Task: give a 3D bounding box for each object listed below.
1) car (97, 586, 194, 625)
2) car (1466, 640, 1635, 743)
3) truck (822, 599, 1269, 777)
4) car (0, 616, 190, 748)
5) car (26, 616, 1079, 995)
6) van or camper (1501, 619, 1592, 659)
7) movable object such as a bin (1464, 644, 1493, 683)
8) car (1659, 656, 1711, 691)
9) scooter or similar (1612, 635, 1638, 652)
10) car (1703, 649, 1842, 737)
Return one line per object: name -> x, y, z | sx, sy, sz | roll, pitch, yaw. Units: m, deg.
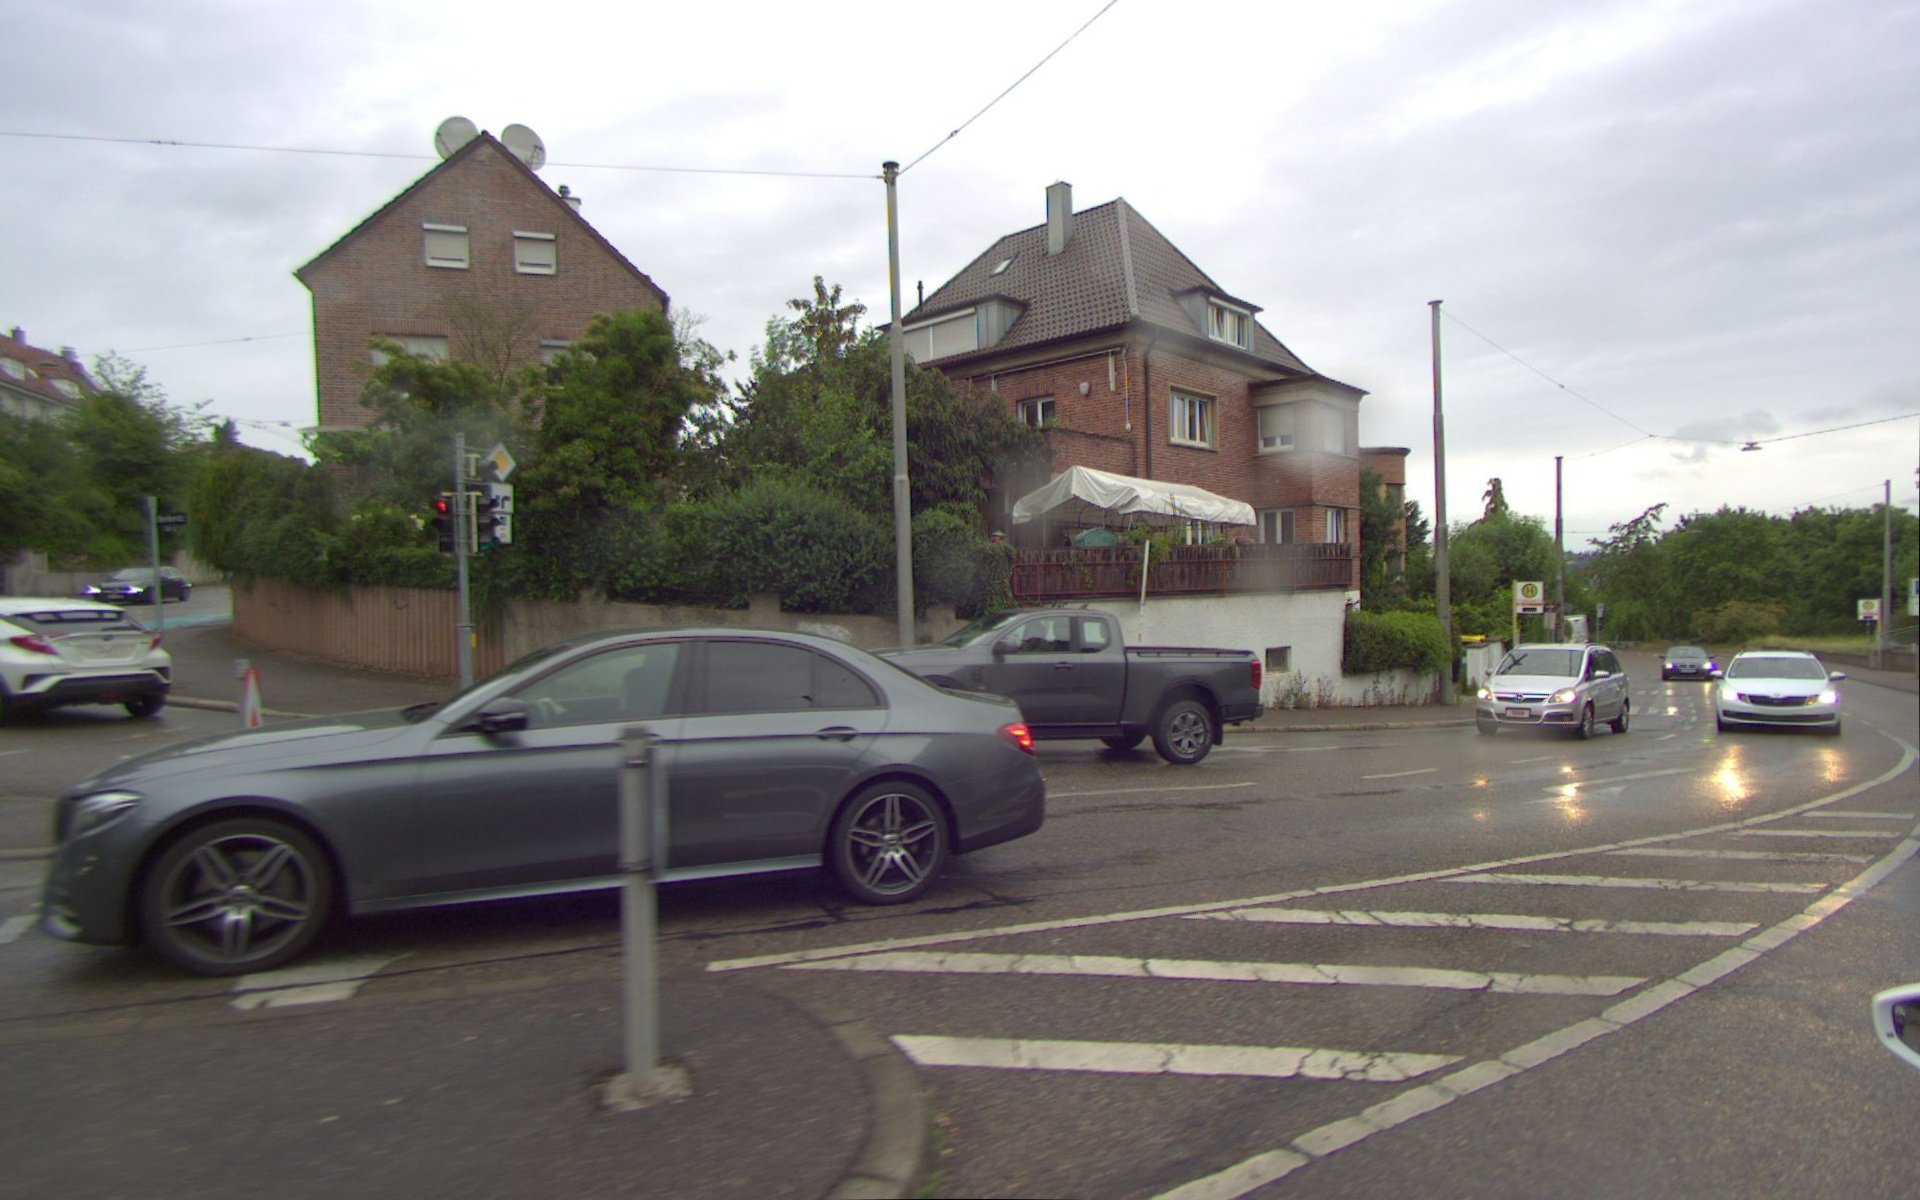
car -> -32.050, 0.200, 39.652 | 1.733, 1.479, 4.023 | 0, 0, -20
car -> 10.748, 1.586, 18.141 | 1.693, 1.606, 4.434 | -1, -4, 43
truck -> 1.070, 1.080, 12.401 | 5.200, 1.872, 1.881 | 2, -4, -20
car -> -12.398, 0.977, 13.202 | 4.178, 1.486, 1.712 | 0, -1, 22
car -> -1.768, 0.912, 5.563 | 4.533, 1.413, 1.854 | 3, -4, -24
van or camper -> 49.214, 3.362, 84.468 | 2.363, 2.982, 6.250 | -5, -1, -22
movable object such as a bin -> 15.415, 1.870, 29.867 | 0.617, 1.095, 0.757 | 3, 1, 38
car -> 32.108, 3.231, 44.434 | 1.715, 1.469, 4.599 | -4, -5, 37
scooter or similar -> 53.403, 3.473, 80.650 | 0.445, 1.299, 1.702 | -3, -3, -22
car -> 15.614, 1.736, 19.364 | 1.826, 1.493, 4.422 | -4, -5, 39
